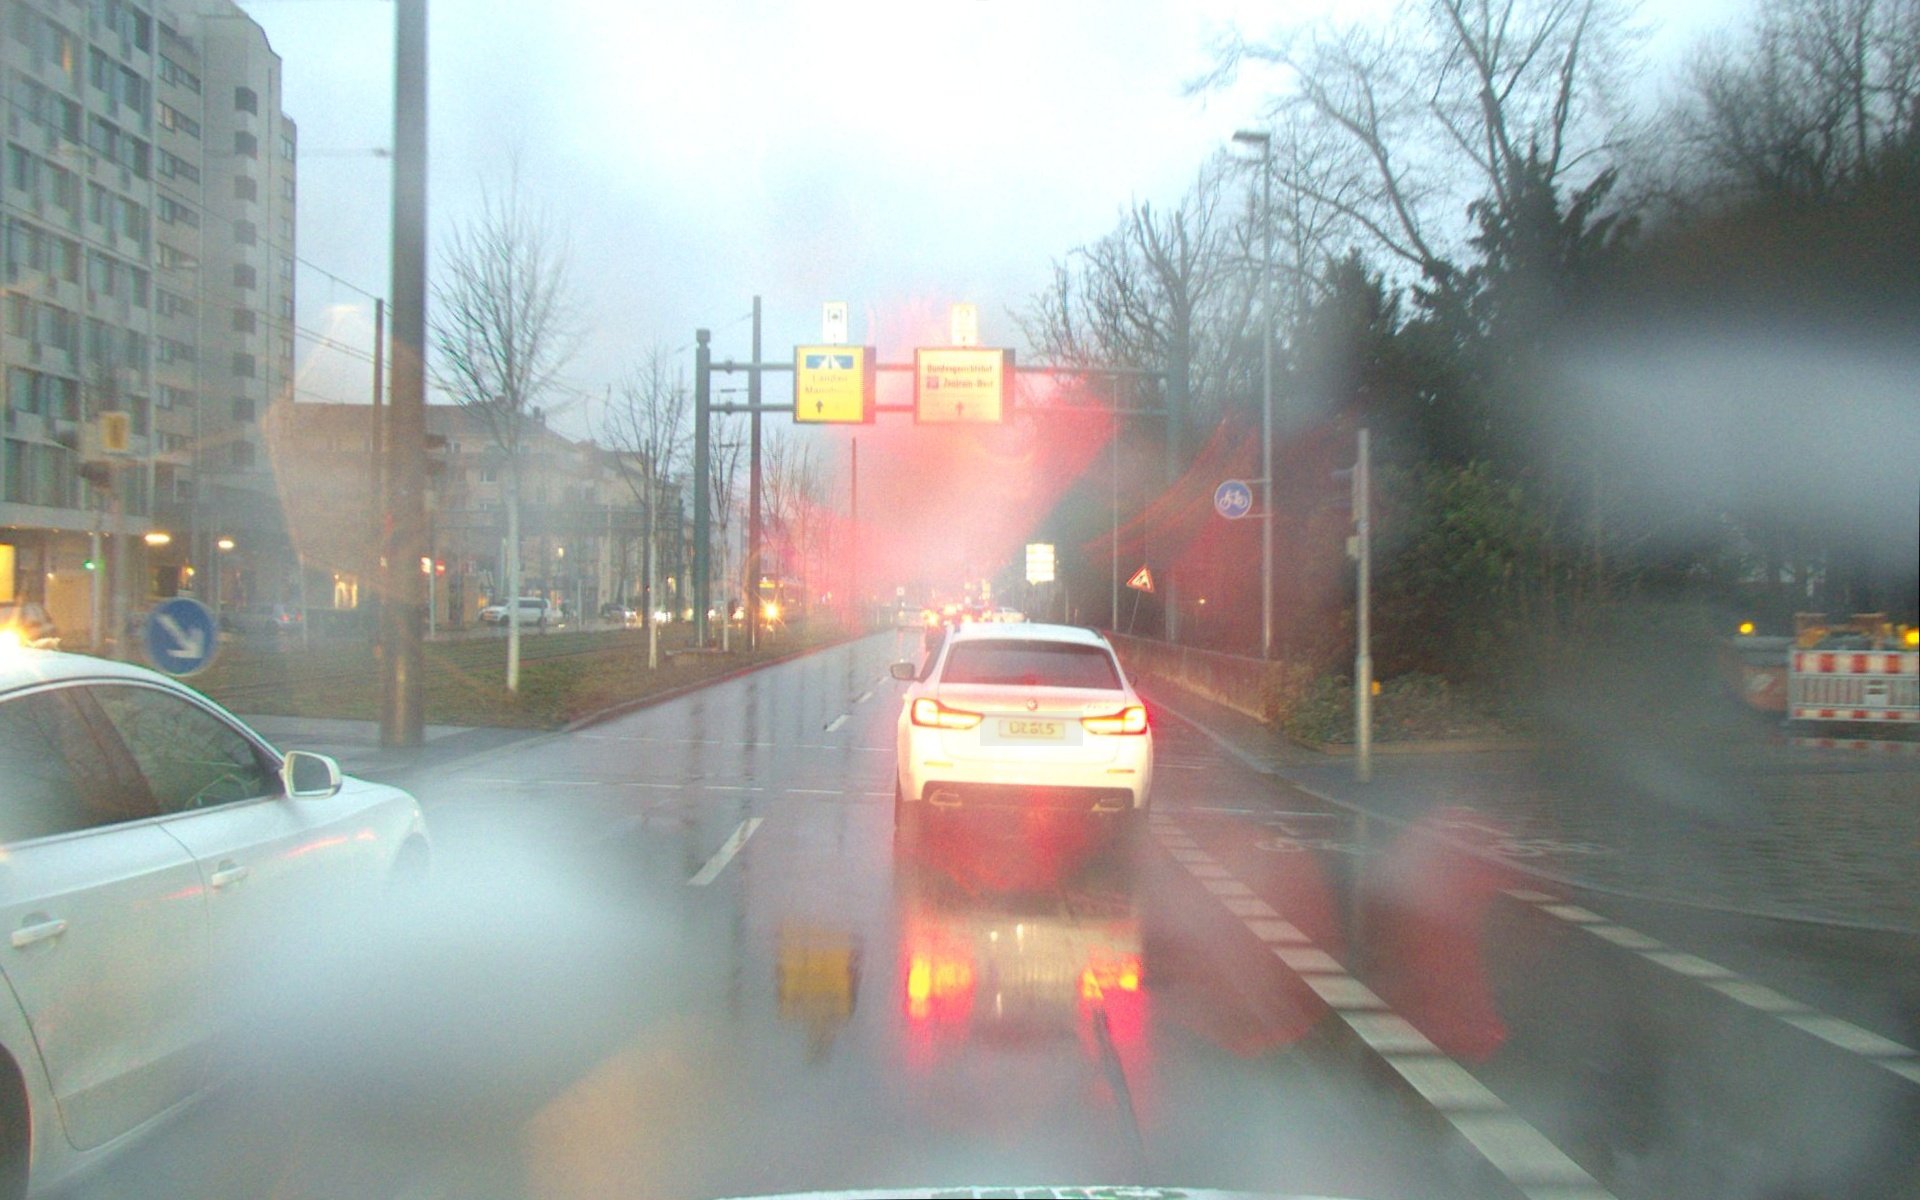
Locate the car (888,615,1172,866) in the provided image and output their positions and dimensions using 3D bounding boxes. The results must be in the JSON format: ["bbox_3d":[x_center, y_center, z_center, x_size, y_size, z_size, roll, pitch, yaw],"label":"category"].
[{"bbox_3d":[0.367,0.932,12.823,1.725,1.580,4.248,2,-1,-4],"label":"car"}]

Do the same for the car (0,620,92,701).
[{"bbox_3d":[-19.877,1.205,34.493,1.960,1.487,5.075,2,-1,-14],"label":"car"}]

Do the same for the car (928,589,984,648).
[{"bbox_3d":[-0.144,0.684,60.837,1.953,2.049,3.999,2,-1,0],"label":"car"}]

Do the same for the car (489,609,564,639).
[{"bbox_3d":[-30.838,1.697,117.717,4.841,2.049,1.970,1,0,-42],"label":"car"}]

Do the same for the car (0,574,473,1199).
[{"bbox_3d":[-2.680,0.682,4.056,1.724,1.495,4.250,2,-1,-1],"label":"car"}]

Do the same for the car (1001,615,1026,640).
[{"bbox_3d":[4.593,2.363,142.271,1.953,2.049,3.999,2,-1,0],"label":"car"}]

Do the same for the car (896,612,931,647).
[{"bbox_3d":[-2.810,1.779,100.042,1.953,2.049,3.999,2,-1,0],"label":"car"}]
